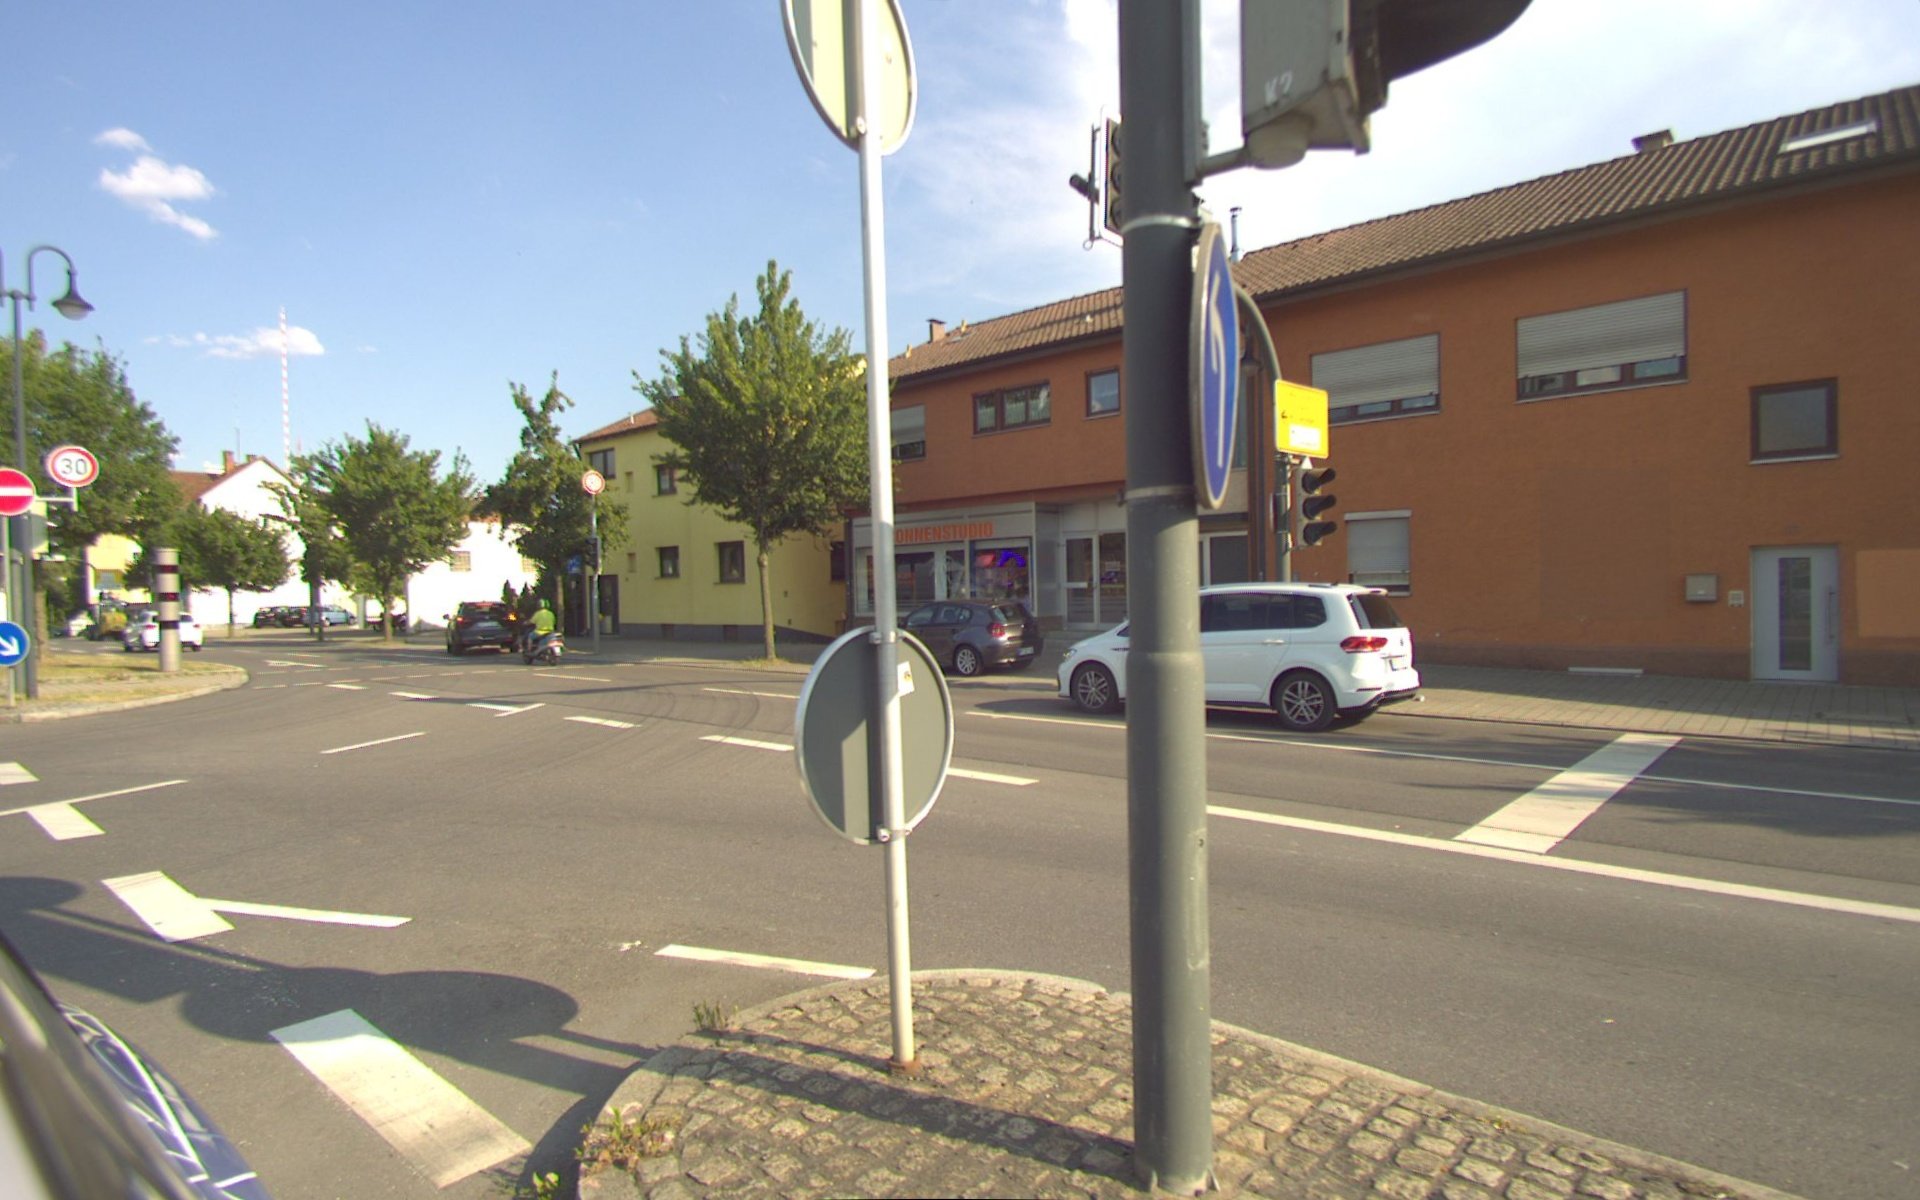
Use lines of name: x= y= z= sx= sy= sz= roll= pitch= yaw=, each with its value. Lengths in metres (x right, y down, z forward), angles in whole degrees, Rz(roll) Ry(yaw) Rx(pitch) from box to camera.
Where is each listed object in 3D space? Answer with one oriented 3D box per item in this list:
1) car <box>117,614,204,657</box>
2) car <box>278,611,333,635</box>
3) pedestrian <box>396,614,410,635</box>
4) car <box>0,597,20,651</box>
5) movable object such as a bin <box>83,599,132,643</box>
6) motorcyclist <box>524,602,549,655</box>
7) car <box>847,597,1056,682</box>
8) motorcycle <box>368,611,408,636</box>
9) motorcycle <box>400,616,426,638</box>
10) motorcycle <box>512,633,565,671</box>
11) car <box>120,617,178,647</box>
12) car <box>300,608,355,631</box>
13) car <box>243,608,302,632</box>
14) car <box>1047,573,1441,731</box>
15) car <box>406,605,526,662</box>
car: x=-28.635 y=1.232 z=36.216 sx=3.998 sy=1.422 sz=1.739 roll=-1 pitch=-1 yaw=41
car: x=-46.047 y=1.609 z=71.298 sx=1.566 sy=1.576 sz=3.429 roll=-1 pitch=0 yaw=2
pedestrian: x=-36.779 y=1.629 z=66.853 sx=0.583 sy=1.350 sz=0.589 roll=-1 pitch=-1 yaw=33
car: x=-46.732 y=1.175 z=48.226 sx=5.472 sy=2.494 sz=2.064 roll=-1 pitch=-1 yaw=39
movable object such as a bin: x=-49.521 y=1.201 z=58.733 sx=4.977 sy=2.480 sz=1.536 roll=-1 pitch=-2 yaw=43
motorcyclist: x=-10.199 y=0.681 z=24.367 sx=0.461 sy=1.238 sz=0.399 roll=-1 pitch=-1 yaw=40
car: x=-0.233 y=0.716 z=19.971 sx=3.940 sy=1.424 sz=1.777 roll=-1 pitch=2 yaw=42
motorcycle: x=-31.308 y=1.282 z=55.388 sx=2.096 sy=1.332 sz=0.487 roll=-2 pitch=-1 yaw=10
motorcycle: x=-28.280 y=1.392 z=52.317 sx=0.542 sy=1.107 sz=2.052 roll=-2 pitch=-1 yaw=-10
motorcycle: x=-10.126 y=1.234 z=24.306 sx=1.762 sy=0.867 sz=0.408 roll=-1 pitch=-1 yaw=40
car: x=-41.148 y=1.611 z=51.304 sx=4.213 sy=1.425 sz=1.673 roll=-1 pitch=-1 yaw=43
car: x=-43.464 y=1.339 z=69.619 sx=1.599 sy=1.555 sz=3.429 roll=-1 pitch=-1 yaw=2
car: x=-48.480 y=1.423 z=71.414 sx=1.836 sy=1.638 sz=3.410 roll=0 pitch=-1 yaw=-1
car: x=3.349 y=0.559 z=12.518 sx=4.411 sy=1.624 sz=1.668 roll=-1 pitch=0 yaw=41
car: x=-15.144 y=0.986 z=30.915 sx=4.460 sy=1.607 sz=1.834 roll=-1 pitch=-1 yaw=43
